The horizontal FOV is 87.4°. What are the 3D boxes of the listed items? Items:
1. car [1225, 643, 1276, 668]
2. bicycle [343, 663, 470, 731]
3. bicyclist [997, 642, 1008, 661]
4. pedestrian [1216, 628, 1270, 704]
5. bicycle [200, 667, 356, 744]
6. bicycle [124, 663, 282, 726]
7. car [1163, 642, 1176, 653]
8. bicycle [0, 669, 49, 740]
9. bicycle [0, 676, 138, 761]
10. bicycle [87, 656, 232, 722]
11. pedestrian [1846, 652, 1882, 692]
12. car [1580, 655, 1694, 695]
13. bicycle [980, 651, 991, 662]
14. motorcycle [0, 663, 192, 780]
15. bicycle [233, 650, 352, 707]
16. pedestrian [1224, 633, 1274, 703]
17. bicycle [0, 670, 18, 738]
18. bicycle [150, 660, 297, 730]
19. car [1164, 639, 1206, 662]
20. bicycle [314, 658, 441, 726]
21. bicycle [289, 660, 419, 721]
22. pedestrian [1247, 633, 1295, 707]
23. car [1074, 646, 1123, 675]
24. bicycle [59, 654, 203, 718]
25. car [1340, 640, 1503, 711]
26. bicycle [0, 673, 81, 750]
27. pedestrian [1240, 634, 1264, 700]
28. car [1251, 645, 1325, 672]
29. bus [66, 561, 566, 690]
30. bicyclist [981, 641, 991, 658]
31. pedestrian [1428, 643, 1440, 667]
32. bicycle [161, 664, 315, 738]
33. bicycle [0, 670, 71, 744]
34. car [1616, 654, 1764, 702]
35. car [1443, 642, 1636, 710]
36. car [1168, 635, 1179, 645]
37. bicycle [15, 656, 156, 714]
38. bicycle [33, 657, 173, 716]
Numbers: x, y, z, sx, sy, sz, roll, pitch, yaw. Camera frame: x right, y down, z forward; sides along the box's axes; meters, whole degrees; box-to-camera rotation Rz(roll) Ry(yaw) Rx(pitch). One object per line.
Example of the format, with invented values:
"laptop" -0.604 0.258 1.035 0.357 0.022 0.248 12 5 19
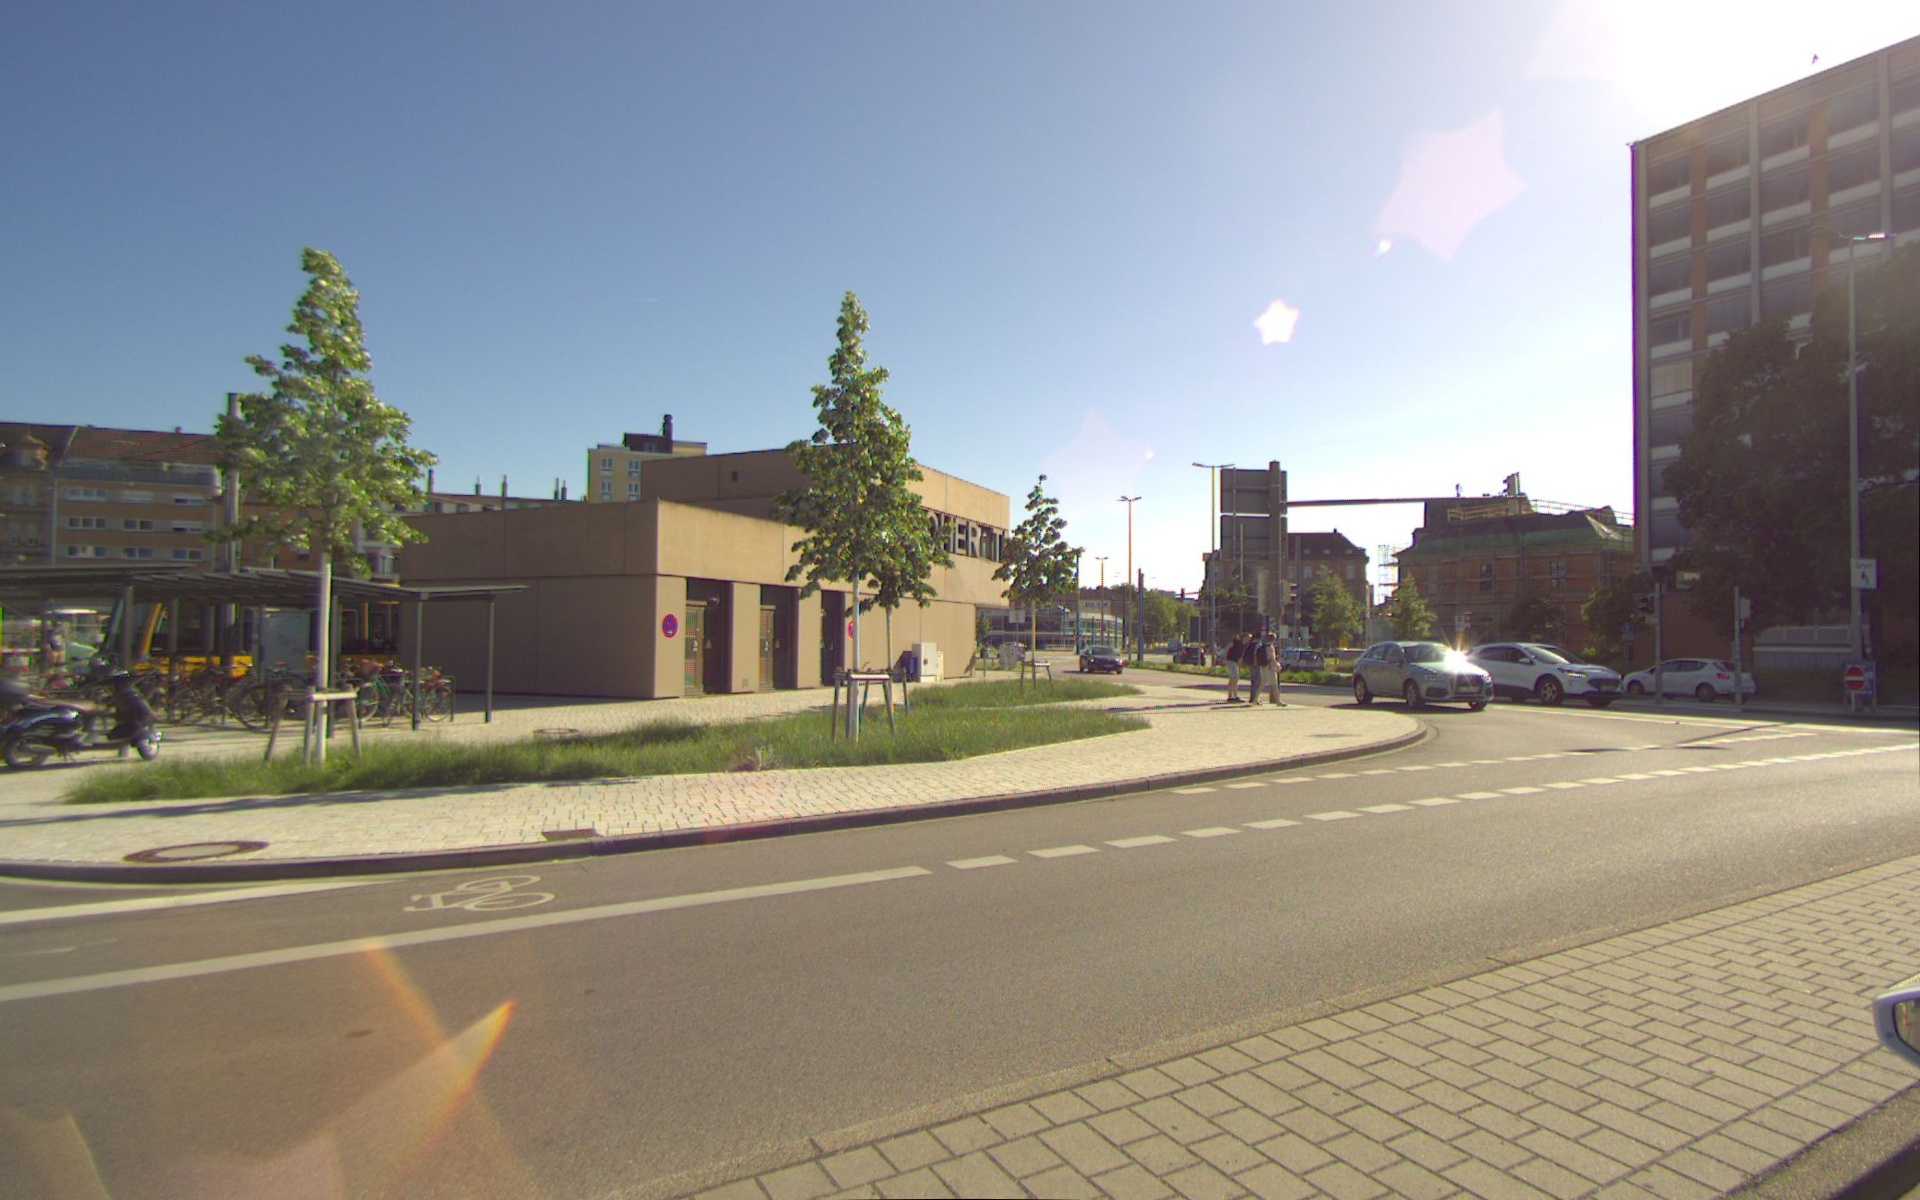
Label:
"car" 19.955 3.790 69.196 1.810 1.653 4.382 1 -2 -7
"bicycle" -9.965 1.725 18.171 0.524 1.051 2.070 2 0 26
"bicyclist" 3.348 4.098 79.488 0.728 1.519 1.071 1 -4 -9
"pedestrian" 6.982 1.637 24.799 1.083 1.822 0.704 2 -4 -11
"bicycle" -10.901 1.653 16.143 0.524 1.051 2.070 2 0 26
"bicycle" -13.706 1.681 18.270 0.673 0.956 2.233 2 0 25
"car" 37.140 8.394 177.992 1.959 2.040 4.003 0 -2 7
"bicycle" -14.198 1.529 14.385 0.399 0.985 1.683 2 0 22
"bicycle" -12.200 1.577 13.587 0.399 0.985 1.683 2 0 22
"bicycle" -15.014 1.644 18.915 0.524 1.051 2.070 5 1 26
"pedestrian" 36.982 2.941 41.078 0.550 1.591 0.860 0 -4 -15
"car" 28.380 3.118 42.269 1.713 1.454 3.839 3 -2 -13
"bicycle" 2.218 4.905 87.106 0.674 0.930 1.989 1 -4 -7
"motorcycle" -10.846 1.451 12.486 0.558 1.235 2.087 0 -1 21
"bicycle" -13.915 1.619 21.002 0.524 1.051 2.070 2 0 26
"pedestrian" 7.320 1.734 25.456 0.831 1.711 0.896 5 -5 -34
"bicycle" -14.715 1.545 14.434 0.399 0.985 1.683 2 0 22
"bicycle" -12.896 1.633 17.666 0.524 1.051 2.070 2 0 26
"car" 16.773 3.744 75.056 1.809 1.653 4.385 1 -2 -4
"bicycle" -10.795 1.687 18.708 0.594 1.093 2.053 2 0 25
"bicycle" -11.759 1.736 19.581 0.679 1.011 2.140 2 0 26
"pedestrian" 7.471 1.691 24.131 0.777 1.711 0.791 3 -5 -21
"car" 7.543 3.323 55.246 1.784 1.524 4.784 -1 -3 -3
"bicycle" -15.900 1.628 19.329 0.524 1.051 2.070 5 1 26
"car" 11.370 1.845 25.090 1.760 1.602 4.255 0 -3 -6
"bicycle" -13.227 1.547 13.822 0.399 0.985 1.683 2 0 22
"pedestrian" 7.869 1.805 27.075 0.585 1.751 0.580 0 -2 14
"car" 18.275 3.239 56.215 1.811 1.406 4.892 1 -2 -10
"bus" -18.550 0.866 31.107 2.810 3.112 13.620 0 -2 25
"bicyclist" 2.223 4.279 87.144 0.674 1.440 1.127 1 -4 -8
"pedestrian" 32.999 3.803 69.932 0.636 1.637 0.548 0 -2 10
"bicycle" -12.002 1.656 16.789 0.524 1.051 2.070 2 0 26
"bicycle" -13.693 1.535 14.183 0.399 0.985 1.683 2 0 22
"car" 24.790 2.624 34.277 1.715 1.454 3.834 1 -2 -18
"car" 15.839 2.071 27.778 1.815 1.640 4.687 3 -4 -16
"car" 41.011 7.686 193.091 1.959 2.040 4.003 0 -2 11
"bicycle" -17.769 1.702 20.466 0.524 1.051 2.070 5 0 26
"bicycle" -16.881 1.681 19.858 0.524 1.051 2.070 -2 -2 26
